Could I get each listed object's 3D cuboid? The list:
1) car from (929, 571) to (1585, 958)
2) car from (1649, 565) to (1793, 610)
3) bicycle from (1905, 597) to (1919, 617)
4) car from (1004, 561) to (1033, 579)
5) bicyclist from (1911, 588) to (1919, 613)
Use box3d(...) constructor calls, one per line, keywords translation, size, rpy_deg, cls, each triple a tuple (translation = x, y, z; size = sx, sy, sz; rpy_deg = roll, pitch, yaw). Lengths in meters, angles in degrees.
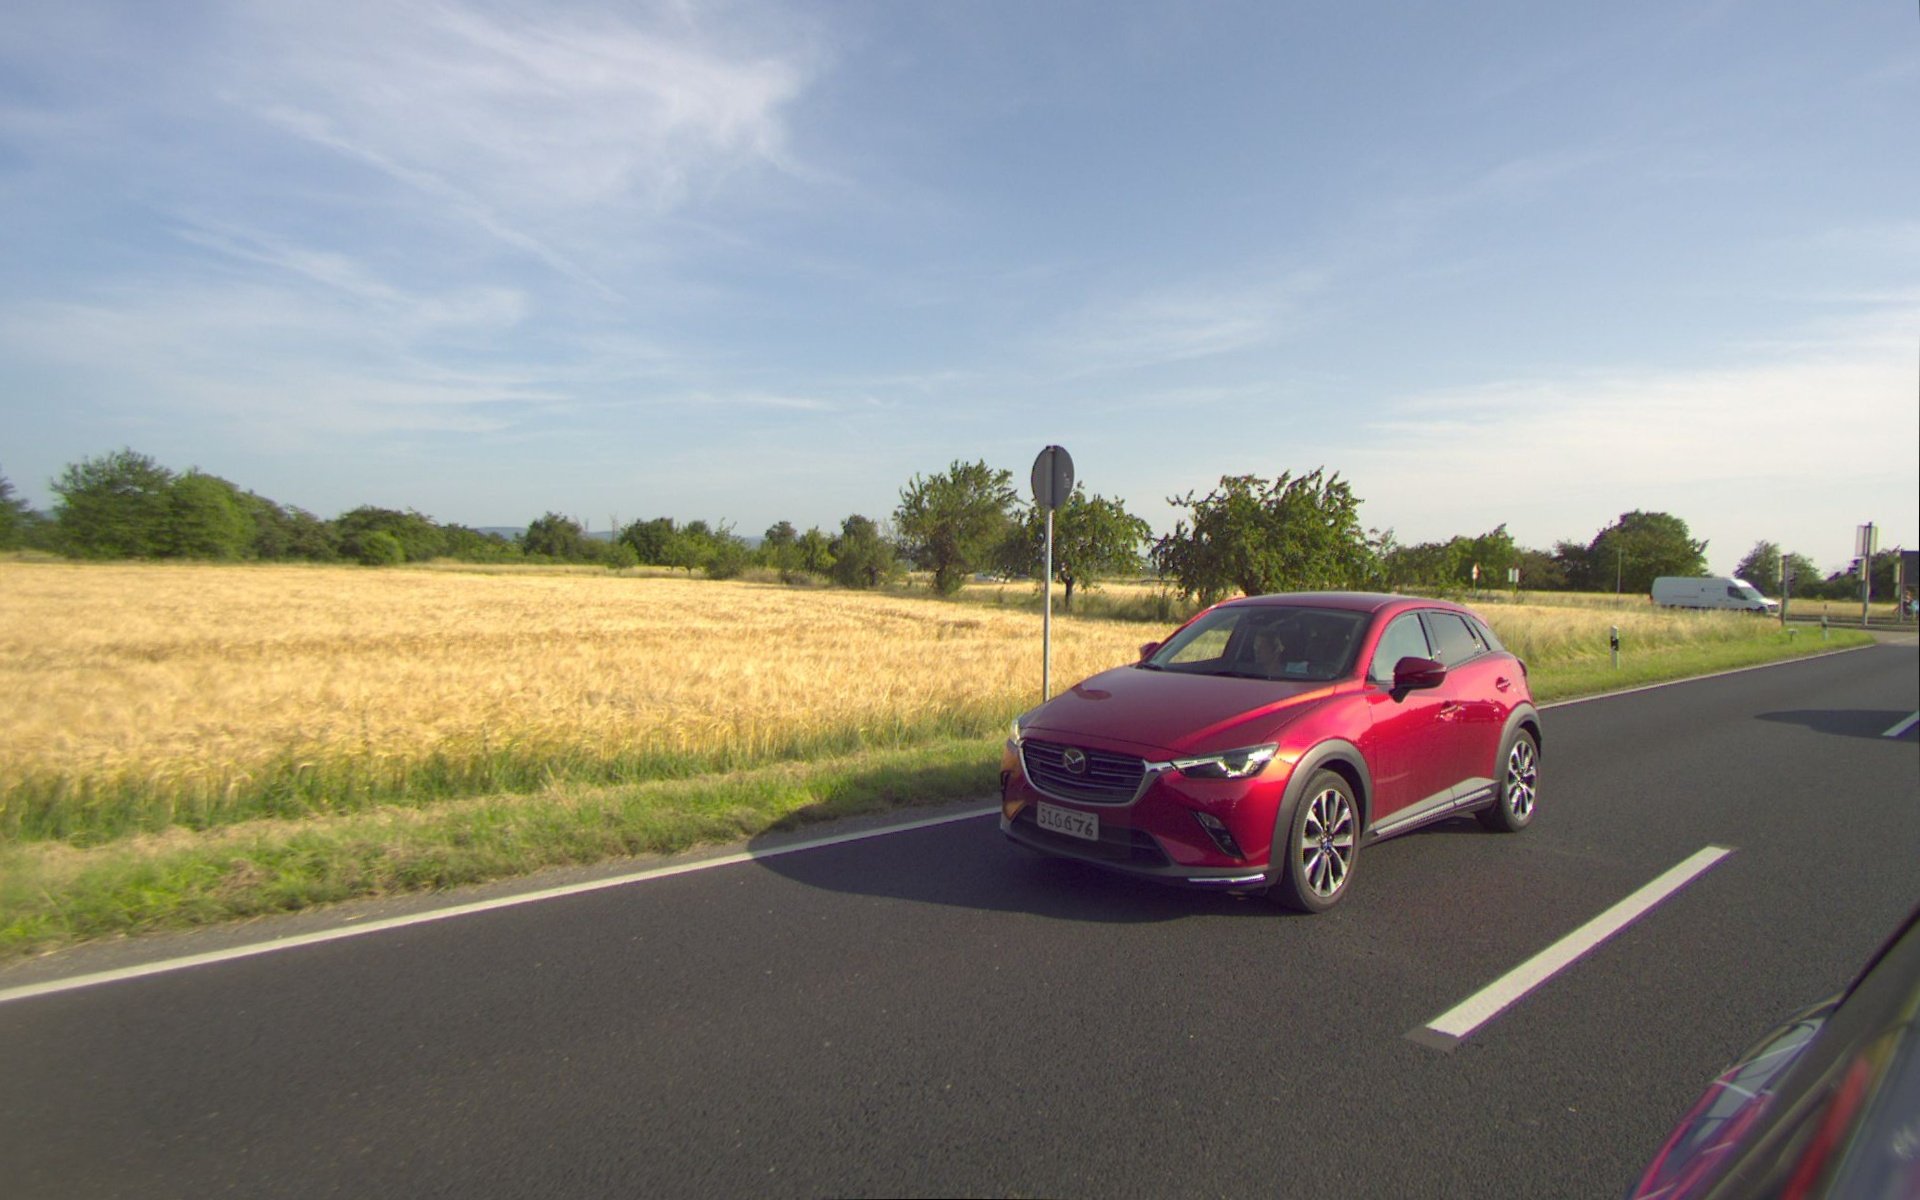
box3d(translation=(2.054, 0.605, 6.095), size=(4.423, 1.524, 1.707), rpy_deg=(-1, 1, -41), cls="car")
box3d(translation=(48.941, -0.864, 65.355), size=(2.049, 2.702, 7.229), rpy_deg=(-1, 2, -26), cls="car")
box3d(translation=(64.080, 0.460, 67.192), size=(0.519, 1.305, 1.858), rpy_deg=(-1, 1, -37), cls="bicycle")
box3d(translation=(6.831, -3.528, 118.996), size=(1.808, 1.972, 4.007), rpy_deg=(-1, 1, -24), cls="car")
box3d(translation=(63.874, 0.017, 67.463), size=(0.495, 1.632, 0.560), rpy_deg=(-1, 0, -34), cls="bicyclist")
